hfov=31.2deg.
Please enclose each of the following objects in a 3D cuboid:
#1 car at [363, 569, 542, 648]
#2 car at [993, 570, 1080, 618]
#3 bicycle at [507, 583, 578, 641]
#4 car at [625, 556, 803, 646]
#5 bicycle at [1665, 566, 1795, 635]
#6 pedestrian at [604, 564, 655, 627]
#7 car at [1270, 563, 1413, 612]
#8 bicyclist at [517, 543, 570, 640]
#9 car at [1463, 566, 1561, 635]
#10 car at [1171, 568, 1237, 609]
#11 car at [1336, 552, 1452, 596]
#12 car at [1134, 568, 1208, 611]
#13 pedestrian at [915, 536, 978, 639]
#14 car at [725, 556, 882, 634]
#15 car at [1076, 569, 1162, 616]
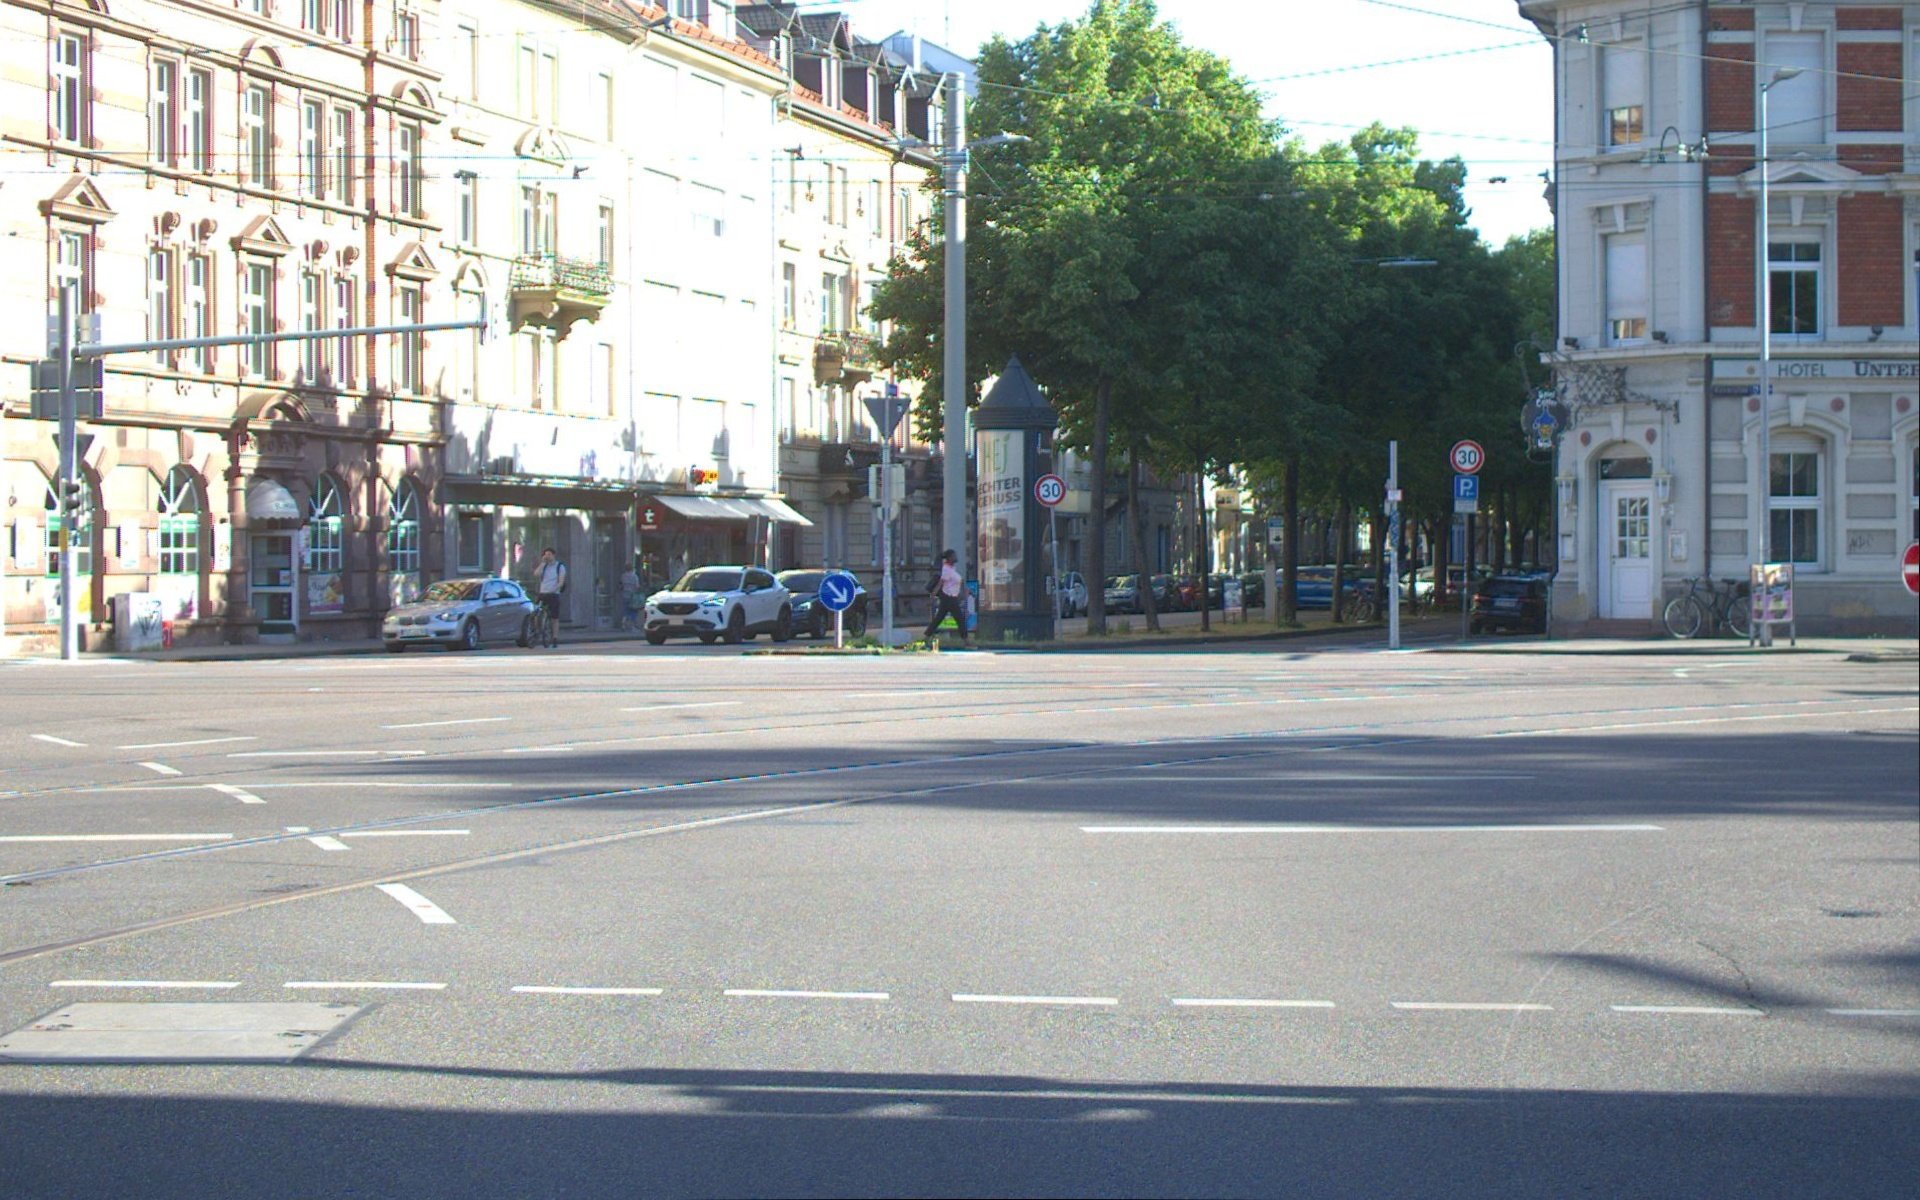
[{"bbox_3d":[-9.853,0.150,67.060,1.900,1.450,3.997,0,1,17],"label":"car"},{"bbox_3d":[2.485,-0.221,110.973,1.995,1.481,3.998,0,1,14],"label":"car"},{"bbox_3d":[-7.889,0.218,65.021,0.680,1.062,2.124,0,1,12],"label":"bicycle"},{"bbox_3d":[-4.764,-0.016,67.335,1.995,1.678,4.387,0,1,17],"label":"car"},{"bbox_3d":[12.856,0.010,57.400,2.085,1.120,0.367,1,0,-4],"label":"bicycle"},{"bbox_3d":[-8.081,-0.122,84.063,0.929,1.530,1.136,0,1,14],"label":"pedestrian"},{"bbox_3d":[12.816,-0.439,115.474,4.382,1.606,1.997,0,1,27],"label":"car"},{"bbox_3d":[-7.879,-0.162,65.057,0.679,1.814,1.070,0,1,12],"label":"bicyclist"},{"bbox_3d":[13.268,-0.010,82.452,1.995,1.579,3.998,0,1,14],"label":"car"},{"bbox_3d":[9.697,-0.466,136.342,1.766,1.544,4.387,0,1,16],"label":"car"},{"bbox_3d":[16.859,-1.013,133.635,3.993,1.700,1.997,0,1,30],"label":"car"},{"bbox_3d":[8.031,-0.417,130.465,1.839,1.547,4.387,0,1,17],"label":"car"},{"bbox_3d":[-0.229,-0.213,58.685,1.046,1.738,0.809,0,1,-2],"label":"pedestrian"},{"bbox_3d":[-3.319,-0.134,73.849,1.995,1.606,4.387,0,1,17],"label":"car"},{"bbox_3d":[5.705,-0.298,122.675,1.995,1.607,4.387,0,1,17],"label":"car"}]
